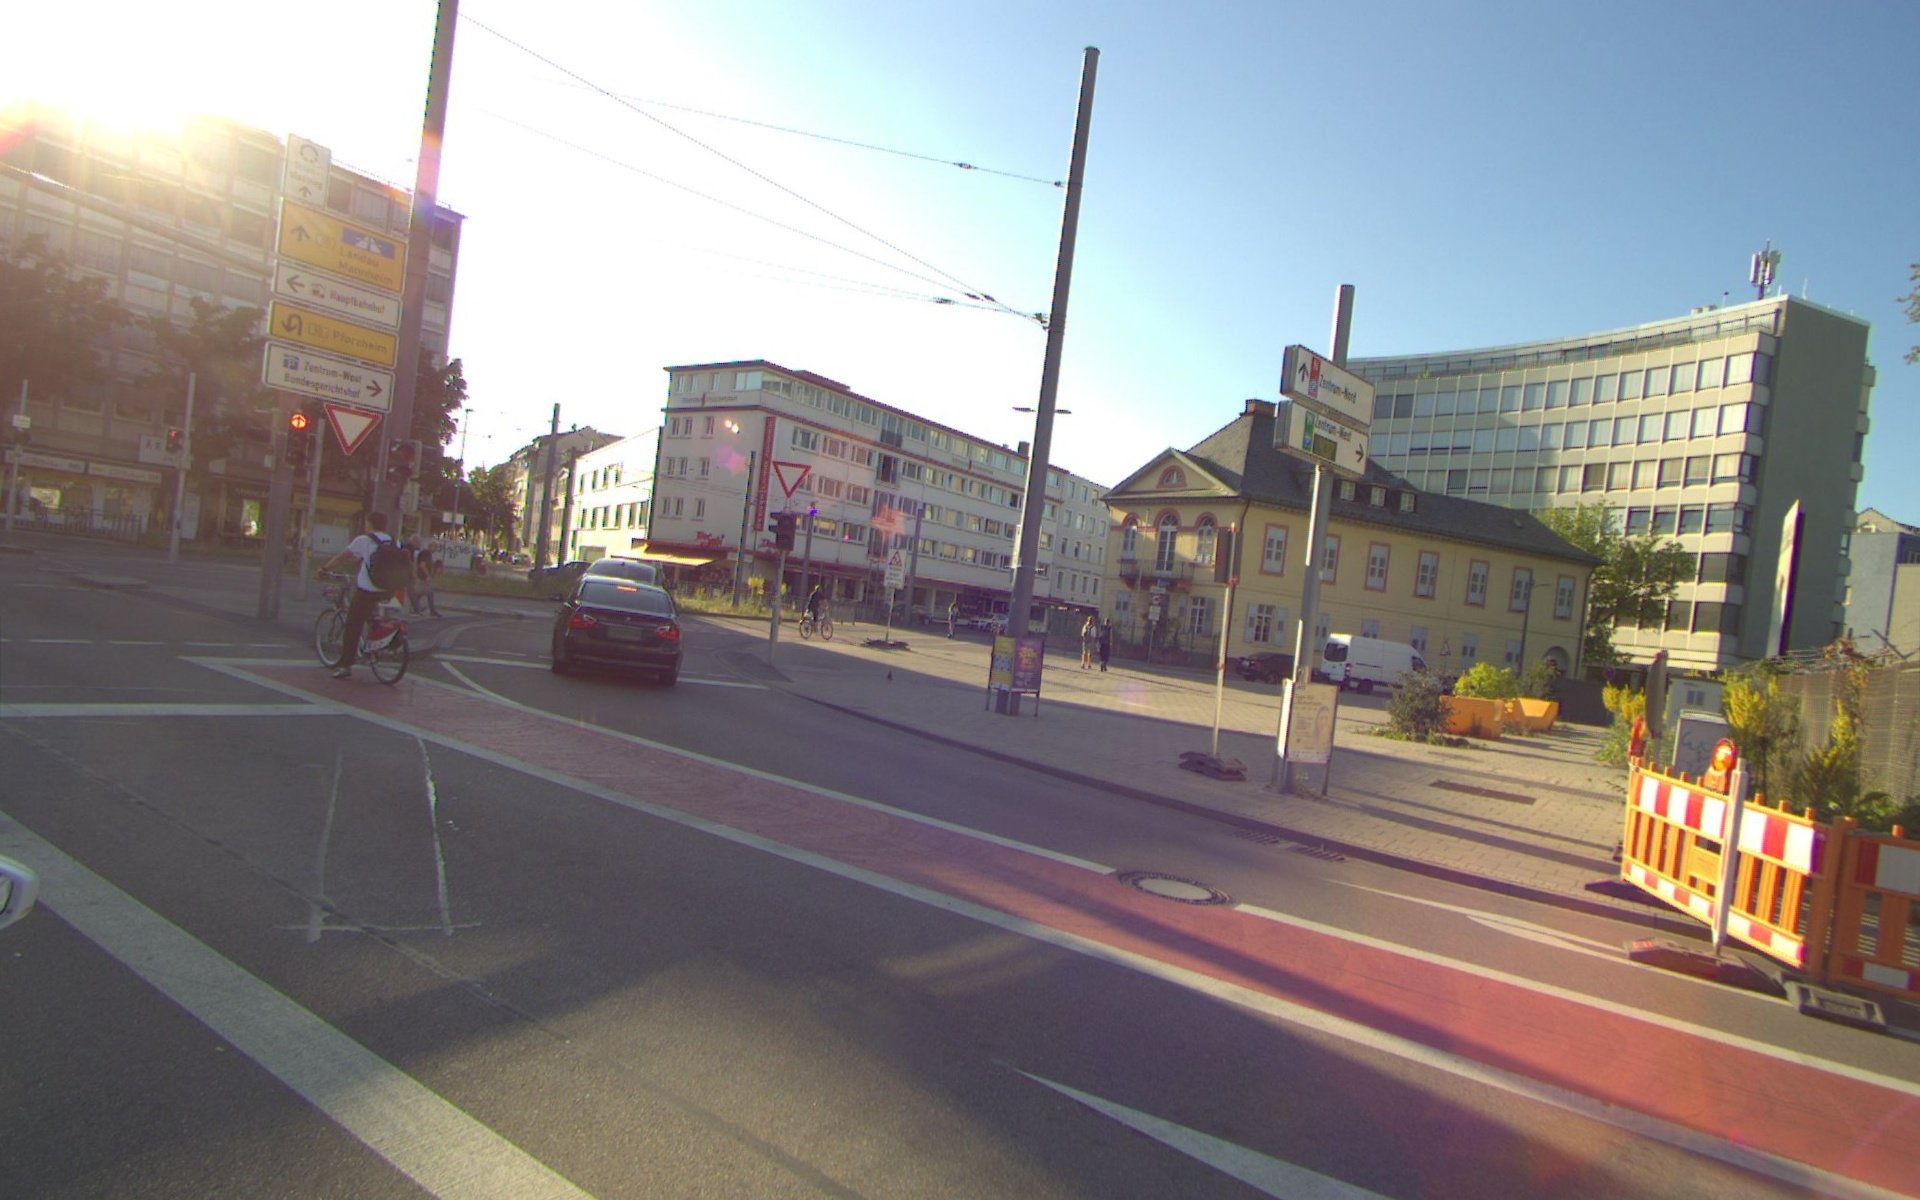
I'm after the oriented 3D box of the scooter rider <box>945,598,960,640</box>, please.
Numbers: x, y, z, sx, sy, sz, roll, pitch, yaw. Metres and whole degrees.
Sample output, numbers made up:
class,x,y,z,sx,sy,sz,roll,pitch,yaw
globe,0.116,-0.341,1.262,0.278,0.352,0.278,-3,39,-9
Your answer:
class,x,y,z,sx,sy,sz,roll,pitch,yaw
scooter rider,-0.361,0.891,47.759,0.492,1.944,0.533,7,1,-4

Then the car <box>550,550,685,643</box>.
class,x,y,z,sx,sy,sz,roll,pitch,yaw
car,-7.897,-0.063,23.589,1.966,1.713,3.996,9,-1,-6

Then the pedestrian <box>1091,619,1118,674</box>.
class,x,y,z,sx,sy,sz,roll,pitch,yaw
pedestrian,5.164,1.660,35.873,0.587,1.847,0.728,7,1,23

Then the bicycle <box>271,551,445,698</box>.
class,x,y,z,sx,sy,sz,roll,pitch,yaw
bicycle,-6.456,0.242,10.746,2.014,1.238,0.645,9,0,33

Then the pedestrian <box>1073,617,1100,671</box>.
class,x,y,z,sx,sy,sz,roll,pitch,yaw
pedestrian,4.568,1.595,36.259,0.587,1.847,0.728,7,1,23

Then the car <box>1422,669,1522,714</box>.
class,x,y,z,sx,sy,sz,roll,pitch,yaw
car,24.597,4.395,48.359,3.942,1.593,1.992,7,0,-18

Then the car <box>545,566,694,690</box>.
class,x,y,z,sx,sy,sz,roll,pitch,yaw
car,-5.186,0.334,15.140,1.725,1.444,3.980,7,-1,-21

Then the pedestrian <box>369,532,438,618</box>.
class,x,y,z,sx,sy,sz,roll,pitch,yaw
pedestrian,-11.229,-0.493,20.299,0.644,1.617,0.879,7,1,30

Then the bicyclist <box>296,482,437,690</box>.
class,x,y,z,sx,sy,sz,roll,pitch,yaw
bicyclist,-6.312,-0.146,10.701,1.049,2.037,0.644,9,0,33

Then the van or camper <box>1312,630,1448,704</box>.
class,x,y,z,sx,sy,sz,roll,pitch,yaw
van or camper,19.250,3.059,46.140,5.524,2.668,1.992,7,0,-18

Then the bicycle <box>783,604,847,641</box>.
class,x,y,z,sx,sy,sz,roll,pitch,yaw
bicycle,-4.771,0.762,33.346,0.671,1.039,2.227,7,-1,35

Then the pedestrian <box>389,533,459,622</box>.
class,x,y,z,sx,sy,sz,roll,pitch,yaw
pedestrian,-10.591,-0.434,19.883,0.644,1.617,0.879,7,1,30

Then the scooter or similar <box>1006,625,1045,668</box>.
class,x,y,z,sx,sy,sz,roll,pitch,yaw
scooter or similar,2.209,1.551,33.910,0.564,1.274,1.334,6,0,-28

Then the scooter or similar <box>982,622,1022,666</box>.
class,x,y,z,sx,sy,sz,roll,pitch,yaw
scooter or similar,1.360,1.431,32.962,0.564,1.274,1.334,6,0,-28

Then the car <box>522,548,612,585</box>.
class,x,y,z,sx,sy,sz,roll,pitch,yaw
car,-21.001,-1.763,53.840,1.968,1.437,3.989,7,0,35

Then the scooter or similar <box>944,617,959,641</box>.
class,x,y,z,sx,sy,sz,roll,pitch,yaw
scooter or similar,-0.408,1.345,47.668,0.485,1.046,1.386,7,0,-3

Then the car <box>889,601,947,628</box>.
class,x,y,z,sx,sy,sz,roll,pitch,yaw
car,-3.184,1.126,76.752,1.971,1.597,4.307,7,0,39

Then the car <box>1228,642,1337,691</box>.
class,x,y,z,sx,sy,sz,roll,pitch,yaw
car,14.201,2.926,44.360,4.102,1.593,1.992,7,0,-18

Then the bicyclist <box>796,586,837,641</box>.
class,x,y,z,sx,sy,sz,roll,pitch,yaw
bicyclist,-4.757,0.443,33.312,0.680,1.682,0.959,7,0,35

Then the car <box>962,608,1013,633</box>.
class,x,y,z,sx,sy,sz,roll,pitch,yaw
car,2.351,1.719,84.504,1.971,1.597,4.307,7,0,39

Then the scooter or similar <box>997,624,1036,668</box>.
class,x,y,z,sx,sy,sz,roll,pitch,yaw
scooter or similar,1.856,1.508,33.279,0.564,1.274,1.334,6,0,-28

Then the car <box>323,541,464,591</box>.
class,x,y,z,sx,sy,sz,roll,pitch,yaw
car,-24.597,-1.459,43.876,1.968,1.497,4.924,7,0,33
